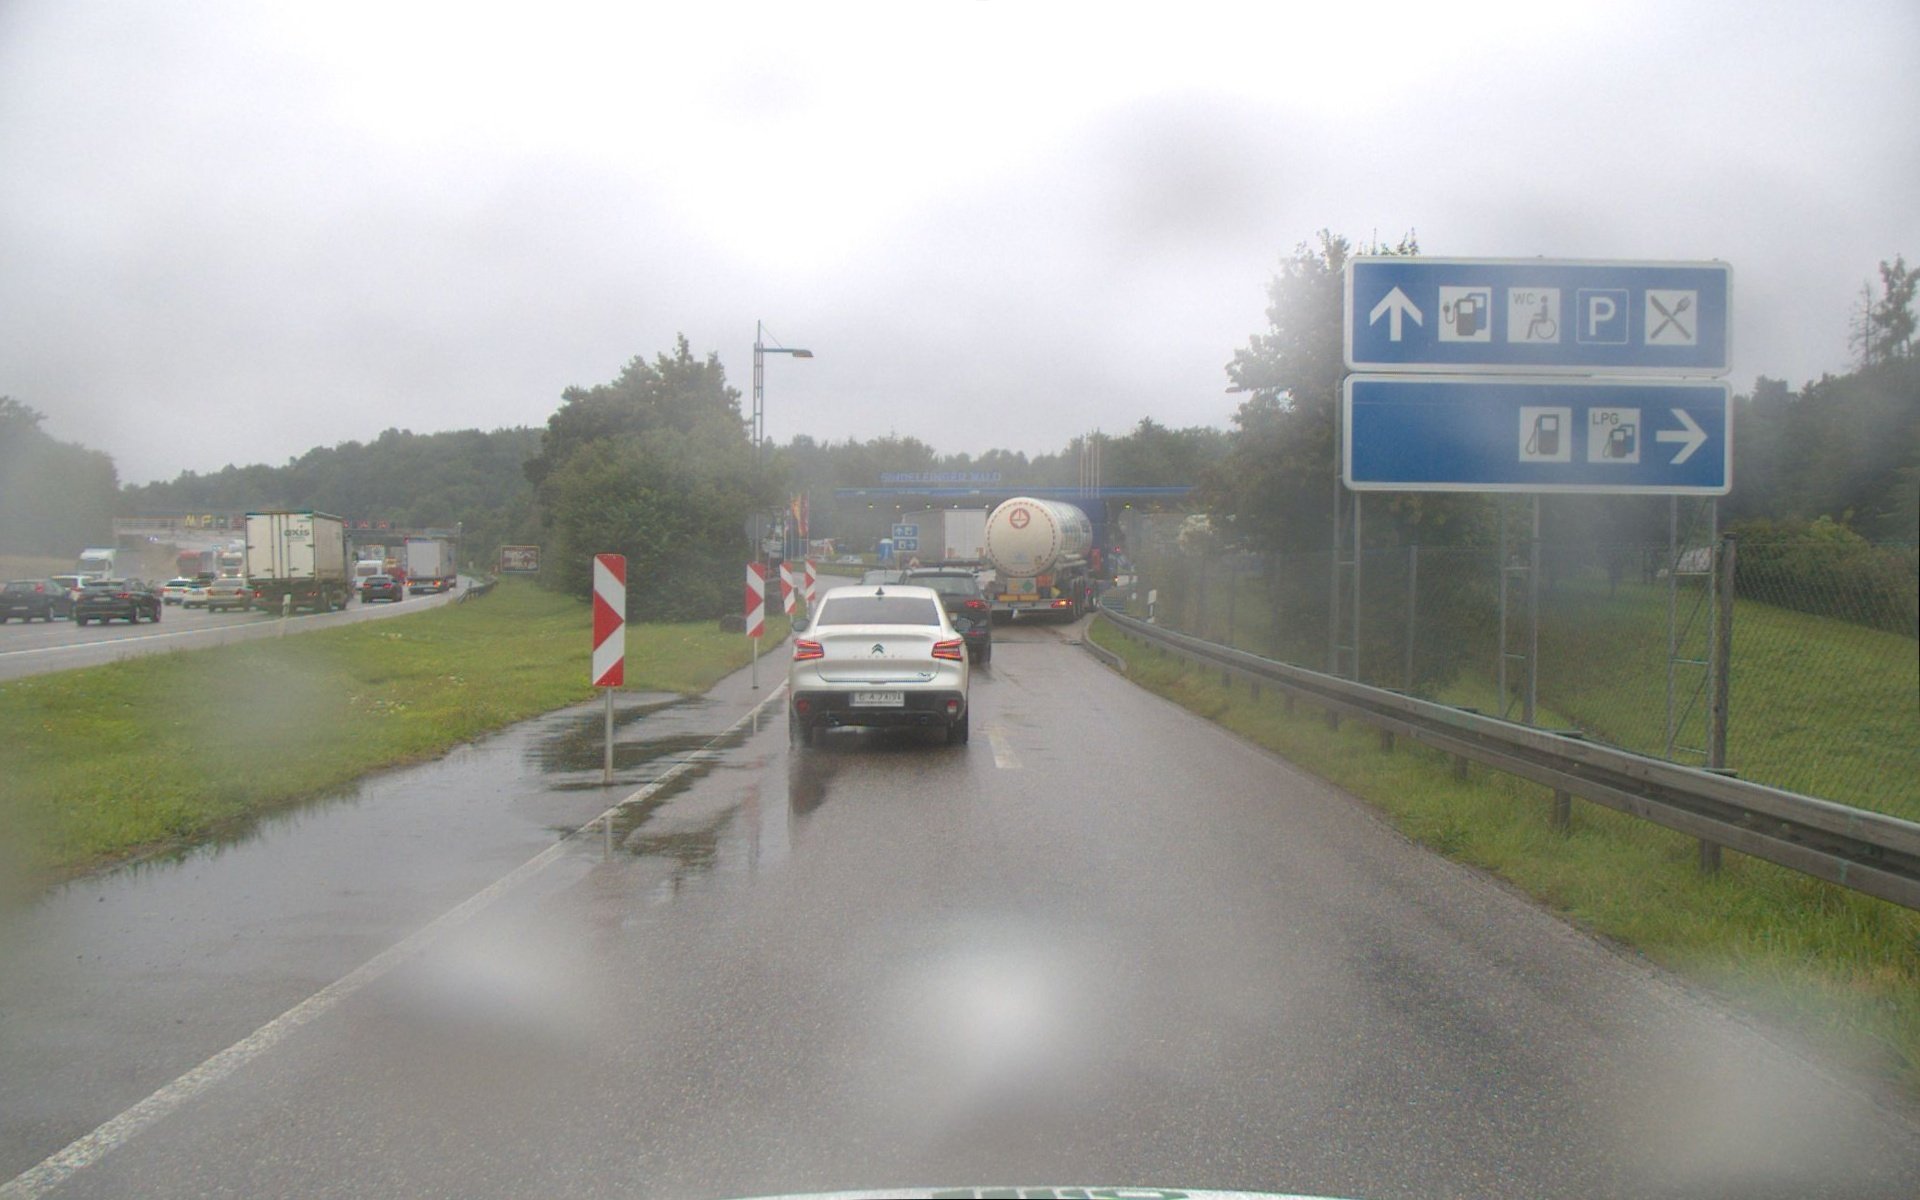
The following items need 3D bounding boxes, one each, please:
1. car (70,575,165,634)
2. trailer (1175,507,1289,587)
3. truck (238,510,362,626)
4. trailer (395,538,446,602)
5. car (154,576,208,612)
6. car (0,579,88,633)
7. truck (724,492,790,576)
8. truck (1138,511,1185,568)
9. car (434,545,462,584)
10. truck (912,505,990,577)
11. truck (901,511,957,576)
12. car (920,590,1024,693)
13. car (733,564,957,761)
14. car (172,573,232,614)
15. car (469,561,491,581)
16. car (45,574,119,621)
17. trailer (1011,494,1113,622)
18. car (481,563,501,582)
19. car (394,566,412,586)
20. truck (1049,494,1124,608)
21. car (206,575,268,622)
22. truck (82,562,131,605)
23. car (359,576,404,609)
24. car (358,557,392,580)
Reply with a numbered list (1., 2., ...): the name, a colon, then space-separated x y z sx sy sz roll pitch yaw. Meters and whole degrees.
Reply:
1. car: -26.891 0.125 52.921 1.744 1.766 3.835 -1 0 -12
2. trailer: 12.848 -2.501 77.284 2.090 3.500 10.239 1 2 28
3. truck: -27.401 -1.238 69.205 2.800 4.367 11.804 -2 1 -13
4. trailer: -41.736 -2.231 128.335 3.493 4.692 12.061 -1 0 -17
5. car: -45.065 -0.359 95.748 1.959 2.049 3.987 -1 1 -13
6. car: -32.098 0.196 57.752 1.744 1.766 4.088 -2 1 -11
7. truck: -10.143 -3.259 82.126 2.863 3.972 6.301 0 2 -11
8. truck: 13.987 -4.251 114.804 2.379 3.871 3.996 -1 3 -6
9. car: -49.013 -3.393 158.412 2.335 3.546 4.792 3 0 -17
10. truck: -0.682 -3.482 97.454 2.328 3.941 12.424 -1 2 -11
11. truck: -1.978 -3.584 104.193 2.328 3.941 6.994 -1 2 -11
12. car: 0.206 0.716 30.310 1.707 1.696 4.000 2 0 0
13. car: -1.080 0.541 16.786 1.953 1.708 3.999 -1 0 -2
14. car: -38.962 -0.354 85.109 1.959 2.049 3.987 -1 1 -13
15. car: -51.956 -3.149 178.960 1.963 2.049 3.978 3 0 -19
16. car: -40.084 -0.119 75.607 1.959 2.049 3.987 -1 0 -12
17. trailer: 3.097 -1.251 47.849 1.938 3.280 10.332 0 2 9
18. car: -56.171 -3.286 198.142 1.963 2.049 3.978 3 0 -19
19. car: -61.493 -2.657 182.578 1.649 2.048 3.978 6 -2 -19
20. truck: 4.231 -1.637 54.690 2.009 3.592 4.751 0 2 10
21. car: -31.912 -0.064 73.141 1.758 2.006 4.320 0 0 -13
22. truck: -78.496 -1.548 152.128 2.667 3.594 4.749 4 2 -12
23. car: -32.540 -0.430 93.108 1.959 1.847 3.987 0 1 -13
24. car: -47.133 -2.520 133.309 1.957 1.847 3.990 1 1 -11
